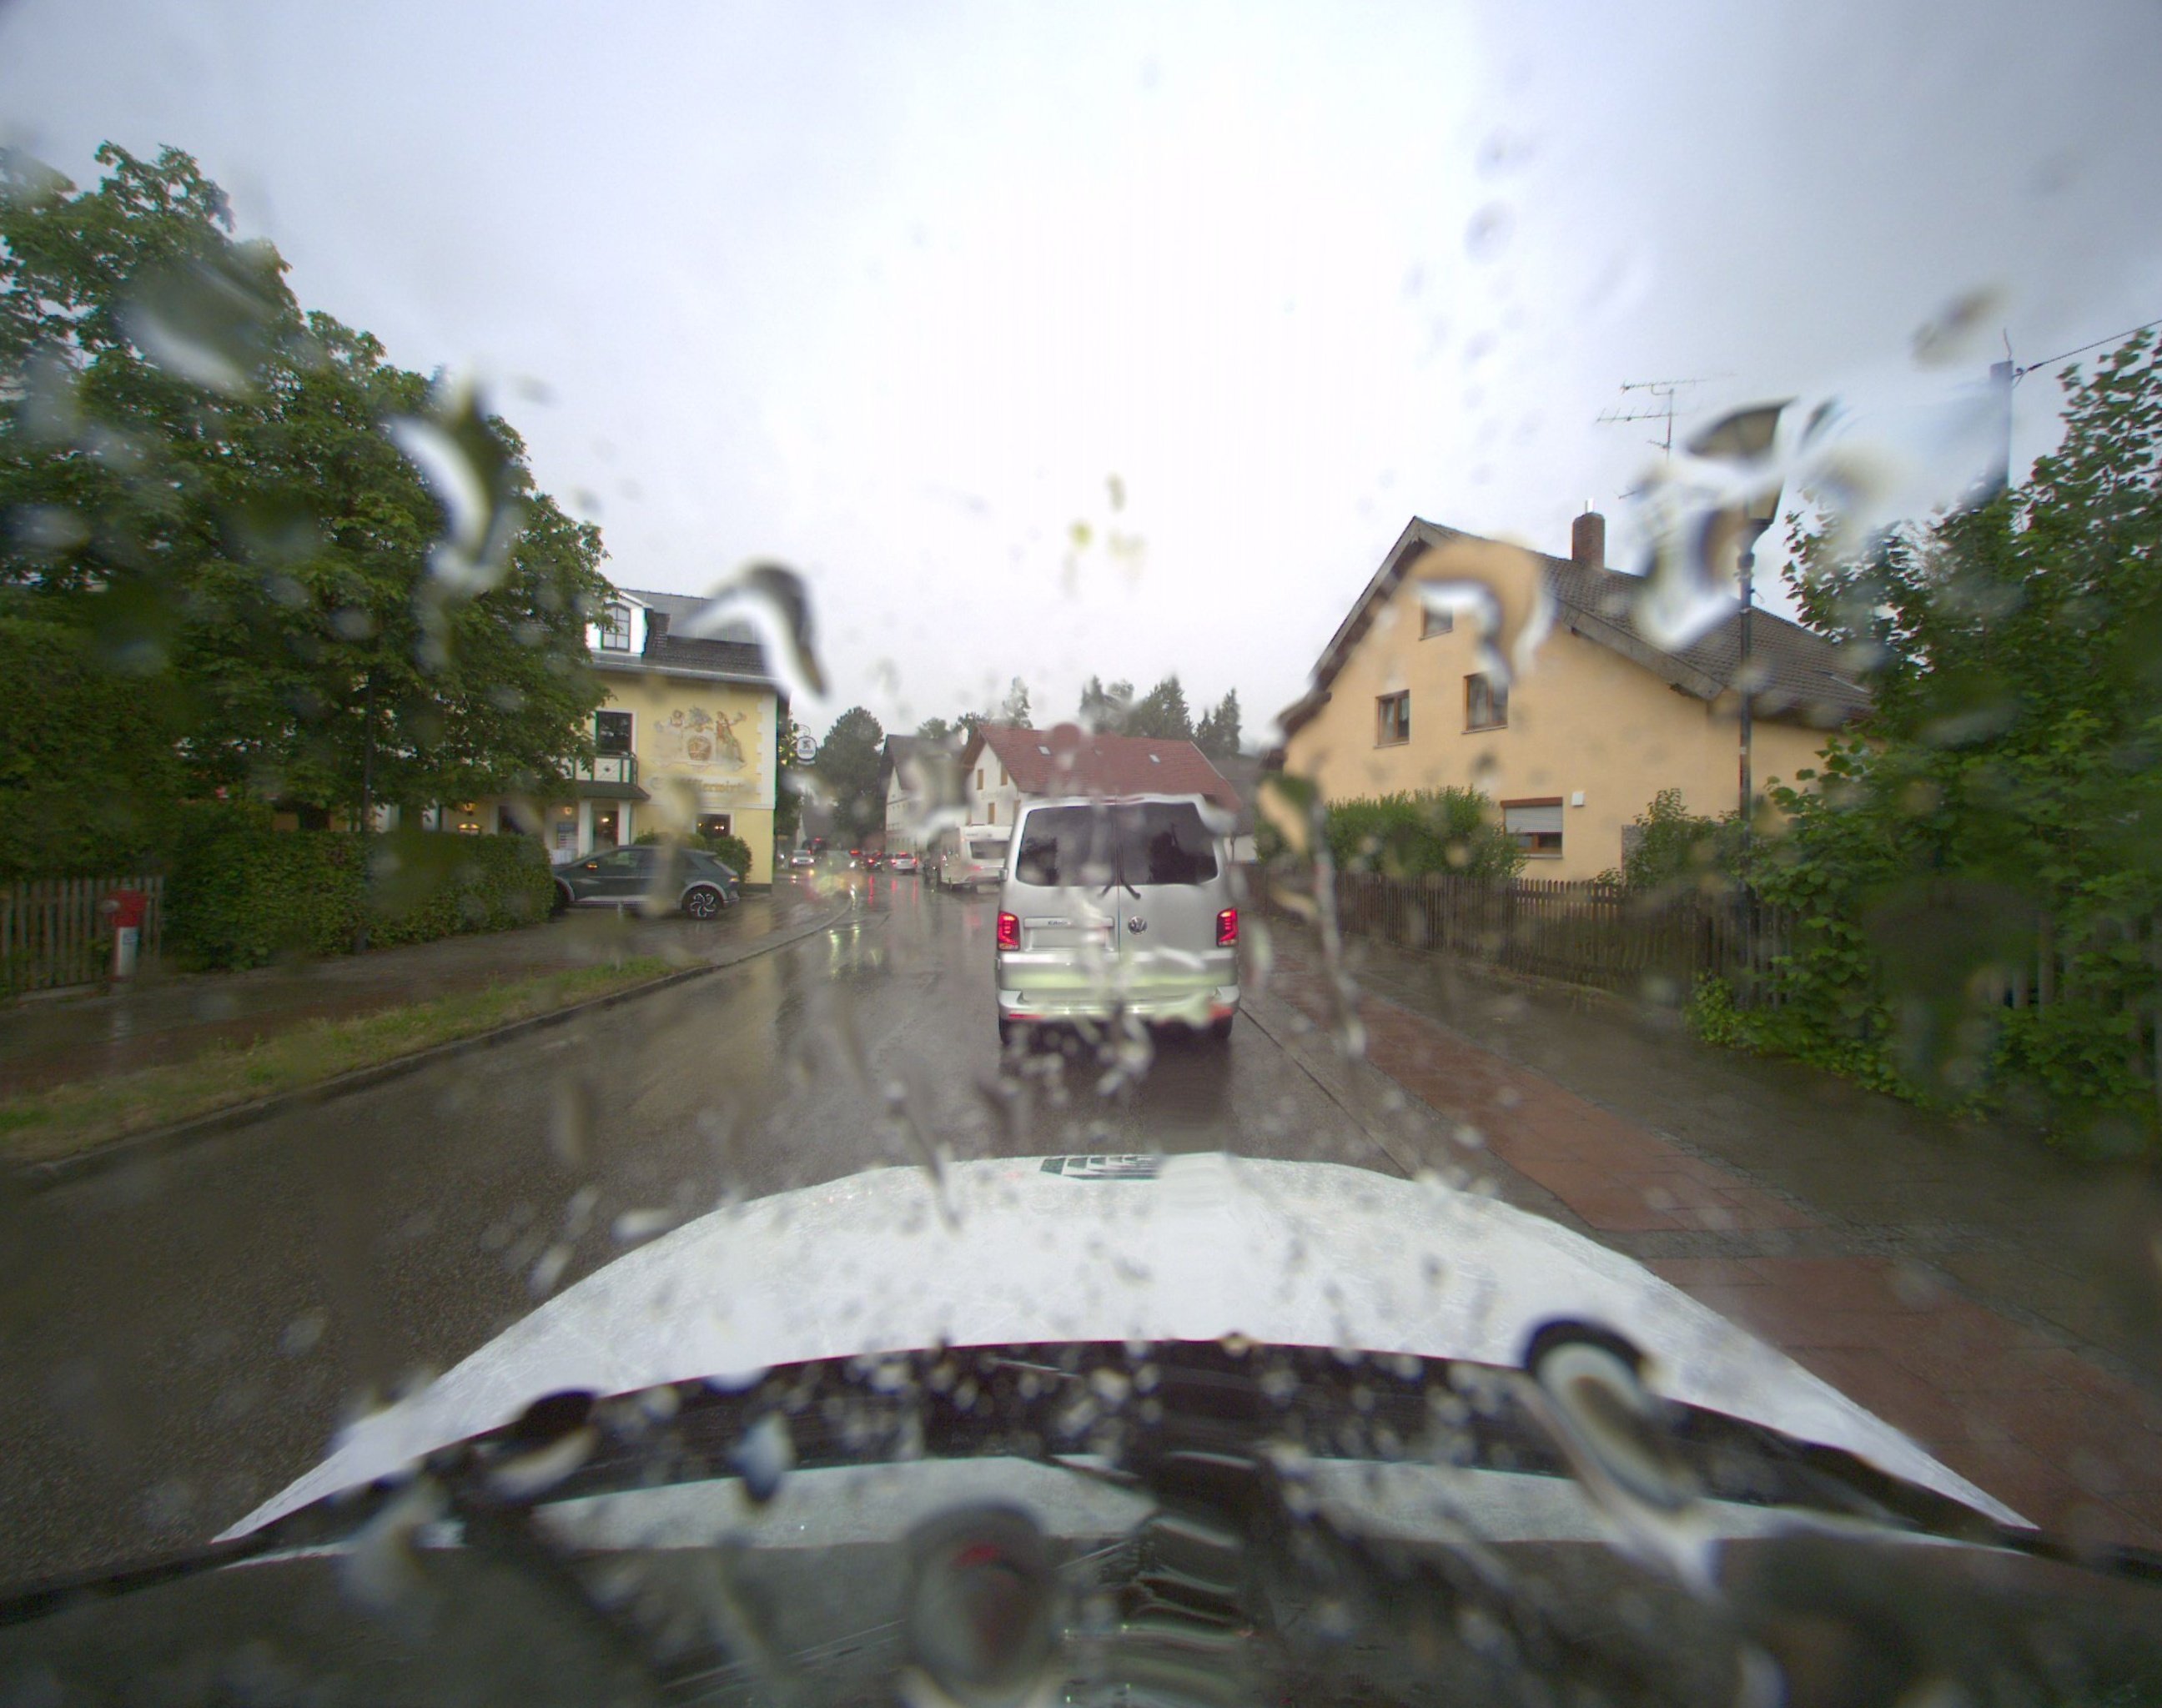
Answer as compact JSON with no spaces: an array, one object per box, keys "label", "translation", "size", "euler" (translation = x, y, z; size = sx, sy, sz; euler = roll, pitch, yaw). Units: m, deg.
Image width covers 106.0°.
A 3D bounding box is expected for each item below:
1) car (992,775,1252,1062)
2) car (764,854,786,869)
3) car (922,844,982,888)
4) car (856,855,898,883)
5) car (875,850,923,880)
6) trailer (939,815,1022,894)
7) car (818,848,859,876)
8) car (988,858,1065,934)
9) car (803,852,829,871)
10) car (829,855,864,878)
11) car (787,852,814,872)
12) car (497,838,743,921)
[{"label":"car","translation":[0.382,0.451,8.189],"size":[1.769,1.962,5.077],"euler":[-1,0,2]},{"label":"car","translation":[-33.442,0.853,88.969],"size":[1.597,1.610,3.503],"euler":[-1,0,-31]},{"label":"car","translation":[-6.190,0.537,38.606],"size":[2.059,1.899,5.144],"euler":[-1,0,-18]},{"label":"car","translation":[-15.161,1.071,60.391],"size":[2.179,1.899,4.974],"euler":[1,0,-24]},{"label":"car","translation":[-12.276,0.759,54.755],"size":[2.179,1.899,4.973],"euler":[1,-1,-24]},{"label":"trailer","translation":[-4.255,0.023,33.325],"size":[2.277,2.904,6.095],"euler":[0,0,-18]},{"label":"car","translation":[-15.968,0.512,53.522],"size":[1.932,1.744,4.157],"euler":[-1,0,-25]},{"label":"car","translation":[-1.426,0.971,21.110],"size":[1.705,1.584,4.678],"euler":[-2,1,-4]},{"label":"car","translation":[-29.253,0.809,89.883],"size":[2.179,1.899,4.974],"euler":[1,0,-24]},{"label":"car","translation":[-20.261,1.052,70.273],"size":[2.179,1.899,4.974],"euler":[1,0,-24]},{"label":"car","translation":[-24.574,0.722,71.261],"size":[1.762,1.677,3.966],"euler":[-1,0,-26]},{"label":"car","translation":[-10.112,0.580,18.251],"size":[4.499,1.567,1.824],"euler":[4,1,-27]}]
